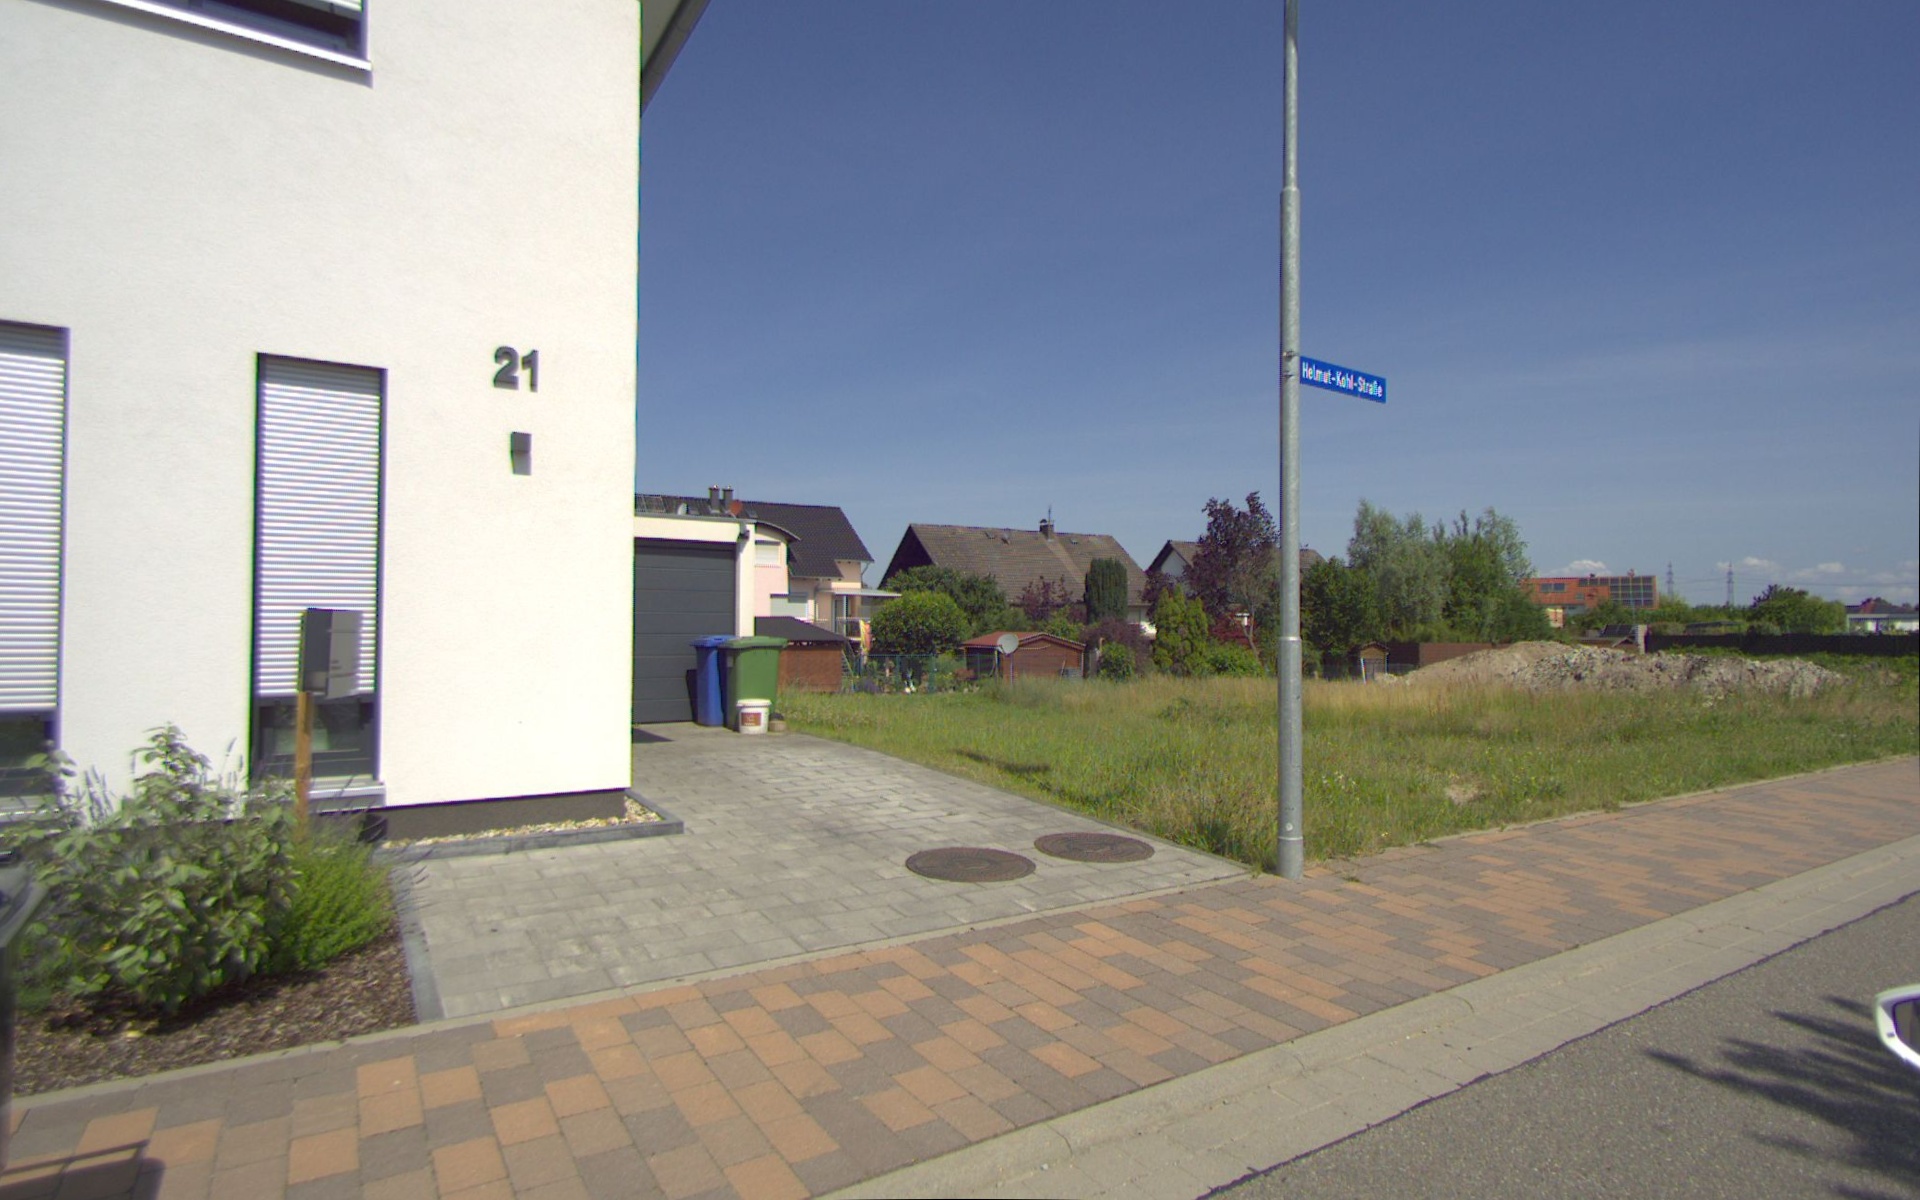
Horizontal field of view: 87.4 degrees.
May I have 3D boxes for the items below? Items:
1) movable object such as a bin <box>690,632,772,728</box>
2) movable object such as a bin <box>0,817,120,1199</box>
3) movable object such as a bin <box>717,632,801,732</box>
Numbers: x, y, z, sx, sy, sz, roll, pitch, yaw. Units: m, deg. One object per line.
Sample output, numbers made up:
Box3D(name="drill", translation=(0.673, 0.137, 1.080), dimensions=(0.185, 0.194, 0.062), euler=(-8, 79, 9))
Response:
Box3D(name="movable object such as a bin", translation=(-2.793, 0.955, 12.225), dimensions=(0.799, 1.113, 0.666), euler=(2, -3, -32))
Box3D(name="movable object such as a bin", translation=(-1.784, 0.918, 1.689), dimensions=(0.495, 0.961, 0.618), euler=(3, -2, -37))
Box3D(name="movable object such as a bin", translation=(-2.361, 0.945, 11.764), dimensions=(0.776, 1.113, 0.656), euler=(2, -3, -33))
